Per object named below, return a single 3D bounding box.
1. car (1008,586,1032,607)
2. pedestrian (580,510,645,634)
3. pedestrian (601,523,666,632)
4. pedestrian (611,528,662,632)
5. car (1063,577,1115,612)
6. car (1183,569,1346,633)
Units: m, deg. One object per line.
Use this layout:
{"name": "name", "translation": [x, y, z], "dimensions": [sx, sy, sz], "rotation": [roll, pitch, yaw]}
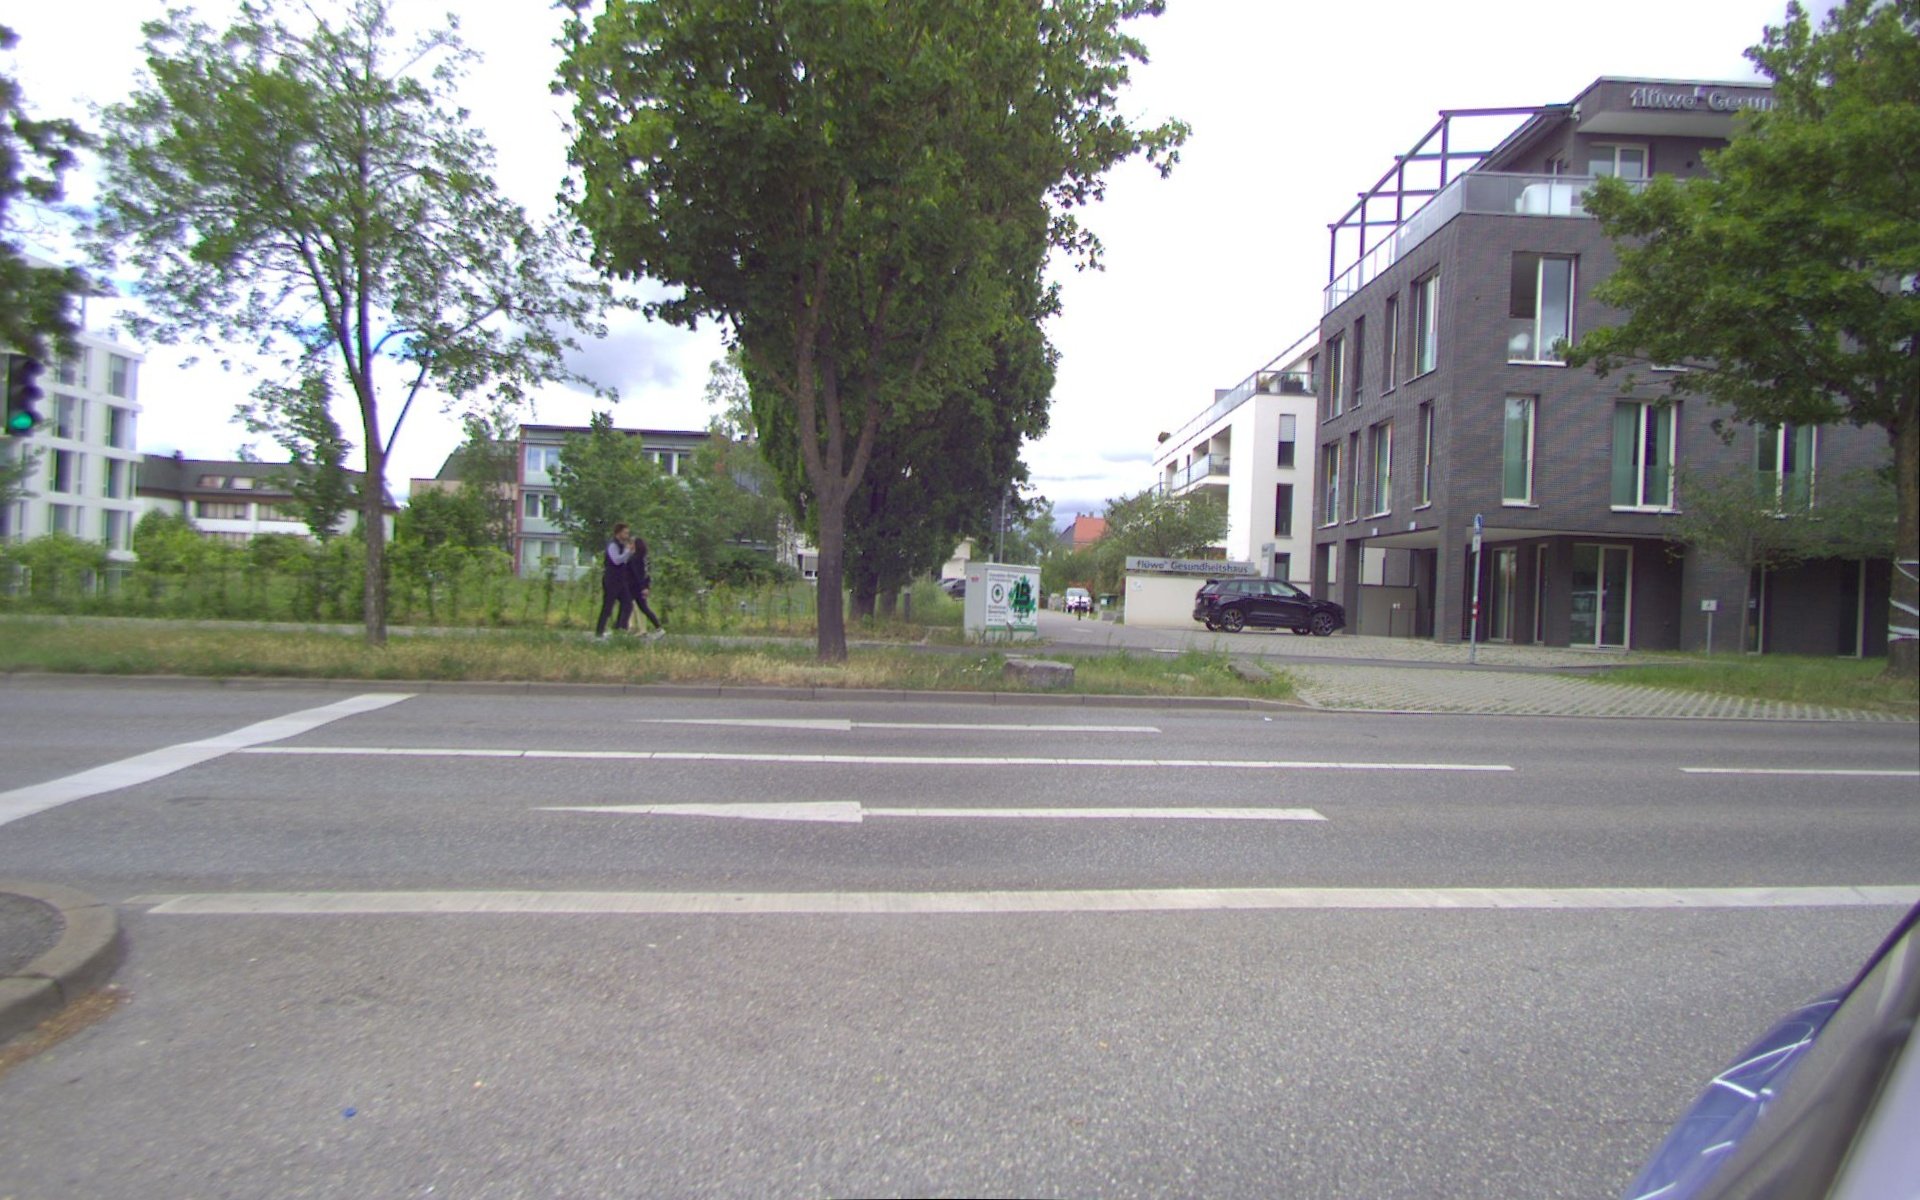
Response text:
{"name": "car", "translation": [4.964, -0.270, 83.364], "dimensions": [1.922, 1.572, 3.959], "rotation": [0, -1, 4]}
{"name": "pedestrian", "translation": [-5.212, -0.406, 15.202], "dimensions": [0.737, 1.820, 0.670], "rotation": [0, -1, 2]}
{"name": "pedestrian", "translation": [-5.307, -0.352, 16.444], "dimensions": [0.982, 1.717, 0.609], "rotation": [0, -2, -19]}
{"name": "pedestrian", "translation": [-5.475, -0.320, 17.124], "dimensions": [0.815, 1.717, 0.617], "rotation": [0, -2, -19]}
{"name": "car", "translation": [6.337, -0.248, 49.977], "dimensions": [1.840, 1.661, 3.830], "rotation": [0, -1, -4]}
{"name": "car", "translation": [8.722, 0.043, 29.259], "dimensions": [4.046, 1.621, 2.000], "rotation": [2, -1, 0]}
